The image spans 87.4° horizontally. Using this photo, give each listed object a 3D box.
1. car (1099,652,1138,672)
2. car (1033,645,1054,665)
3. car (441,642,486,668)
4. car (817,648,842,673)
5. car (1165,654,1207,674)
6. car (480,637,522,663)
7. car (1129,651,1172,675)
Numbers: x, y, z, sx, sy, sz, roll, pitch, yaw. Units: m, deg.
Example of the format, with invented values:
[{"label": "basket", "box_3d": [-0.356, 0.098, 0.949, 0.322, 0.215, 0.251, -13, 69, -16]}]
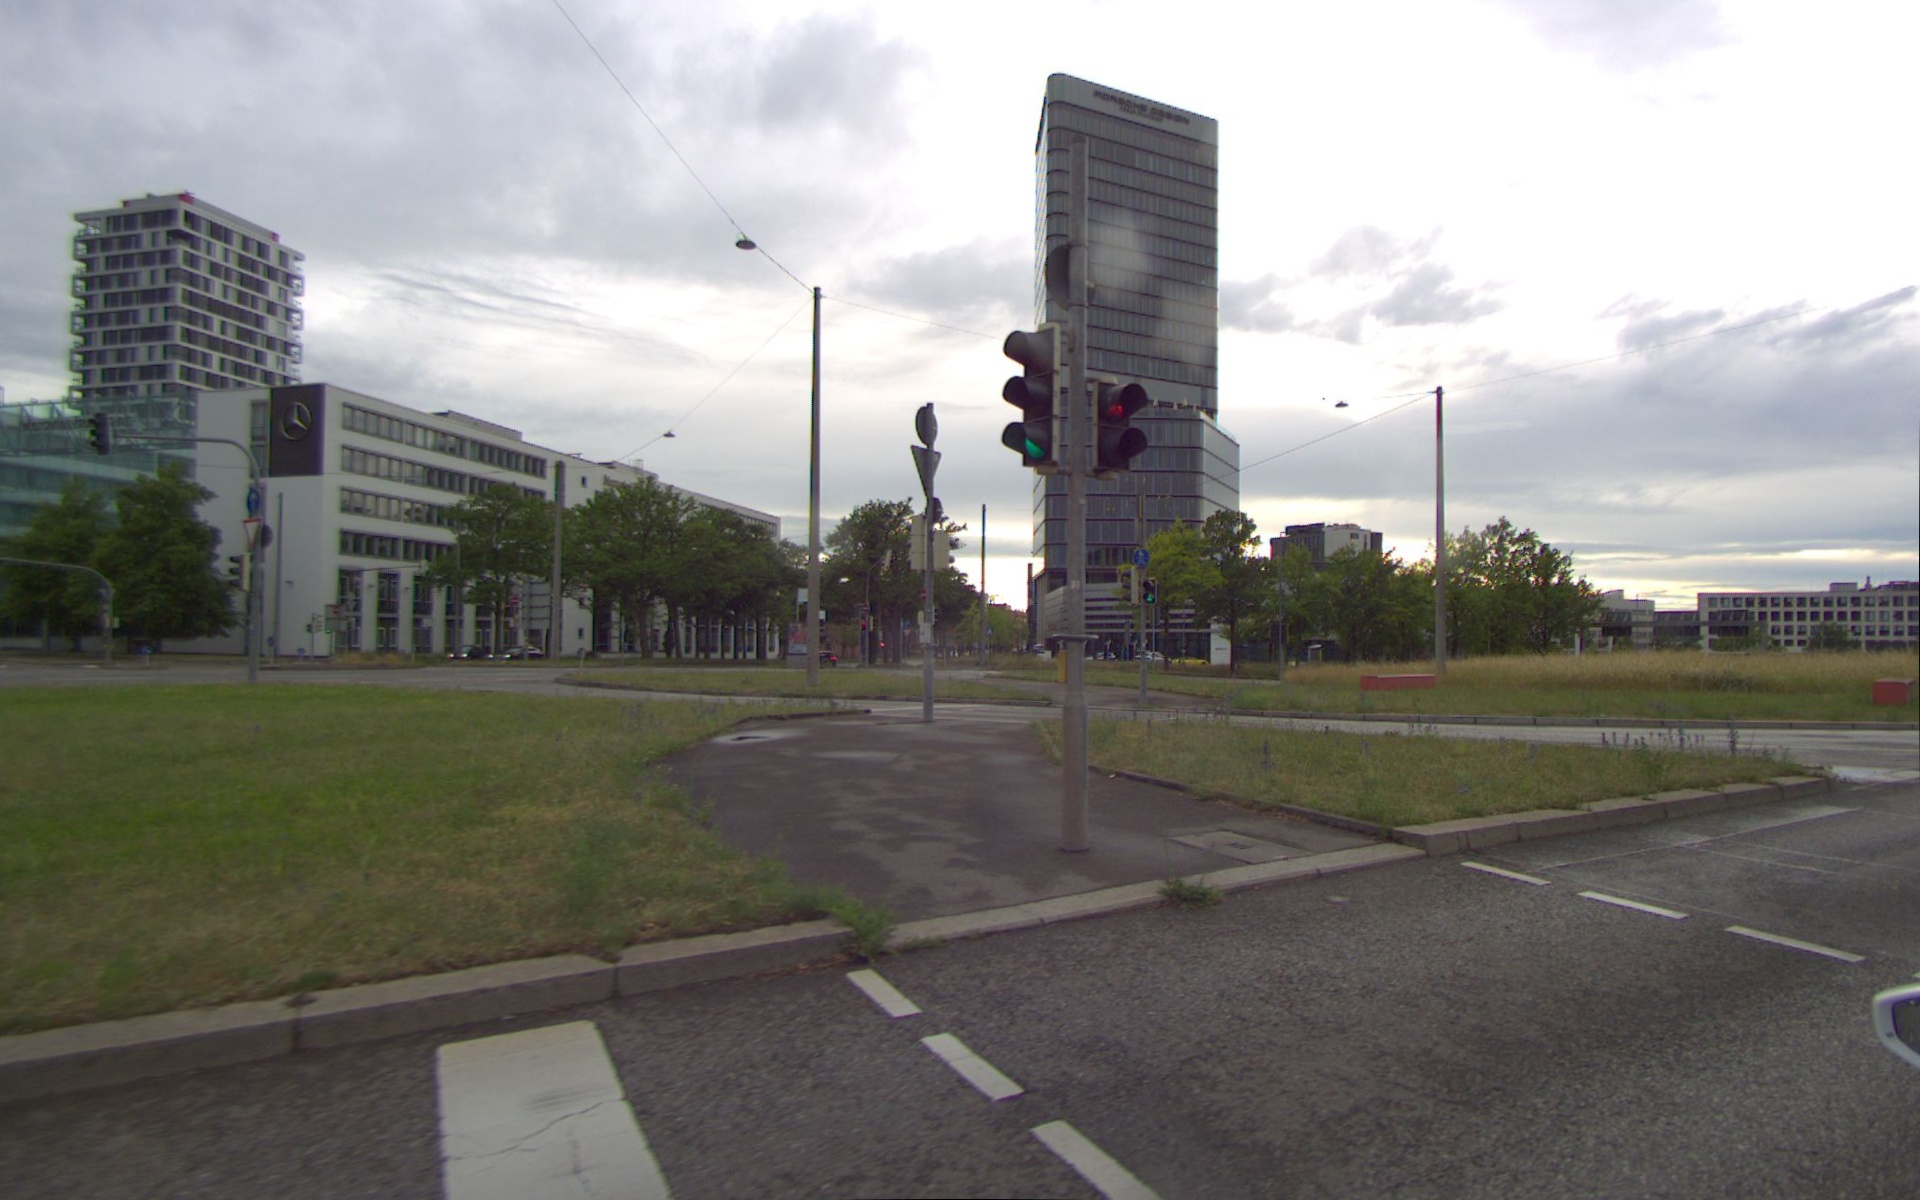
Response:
[{"label": "car", "box_3d": [18.162, 7.113, 115.459, 3.937, 2.040, 1.992, 2, 0, -19]}, {"label": "car", "box_3d": [8.563, 5.658, 103.405, 1.960, 1.873, 4.001, 2, 0, 2]}, {"label": "car", "box_3d": [-36.667, 4.021, 74.210, 1.865, 1.698, 3.708, 2, 0, -9]}, {"label": "car", "box_3d": [-10.454, 4.797, 80.192, 1.865, 1.698, 3.708, 2, 0, -9]}, {"label": "car", "box_3d": [24.122, 6.823, 107.220, 3.931, 2.040, 1.995, 2, 0, -13]}, {"label": "car", "box_3d": [-33.849, 3.668, 74.173, 1.865, 1.698, 3.708, 2, 0, -9]}, {"label": "car", "box_3d": [17.941, 5.901, 94.493, 3.974, 2.040, 1.974, 2, 0, -44]}]
